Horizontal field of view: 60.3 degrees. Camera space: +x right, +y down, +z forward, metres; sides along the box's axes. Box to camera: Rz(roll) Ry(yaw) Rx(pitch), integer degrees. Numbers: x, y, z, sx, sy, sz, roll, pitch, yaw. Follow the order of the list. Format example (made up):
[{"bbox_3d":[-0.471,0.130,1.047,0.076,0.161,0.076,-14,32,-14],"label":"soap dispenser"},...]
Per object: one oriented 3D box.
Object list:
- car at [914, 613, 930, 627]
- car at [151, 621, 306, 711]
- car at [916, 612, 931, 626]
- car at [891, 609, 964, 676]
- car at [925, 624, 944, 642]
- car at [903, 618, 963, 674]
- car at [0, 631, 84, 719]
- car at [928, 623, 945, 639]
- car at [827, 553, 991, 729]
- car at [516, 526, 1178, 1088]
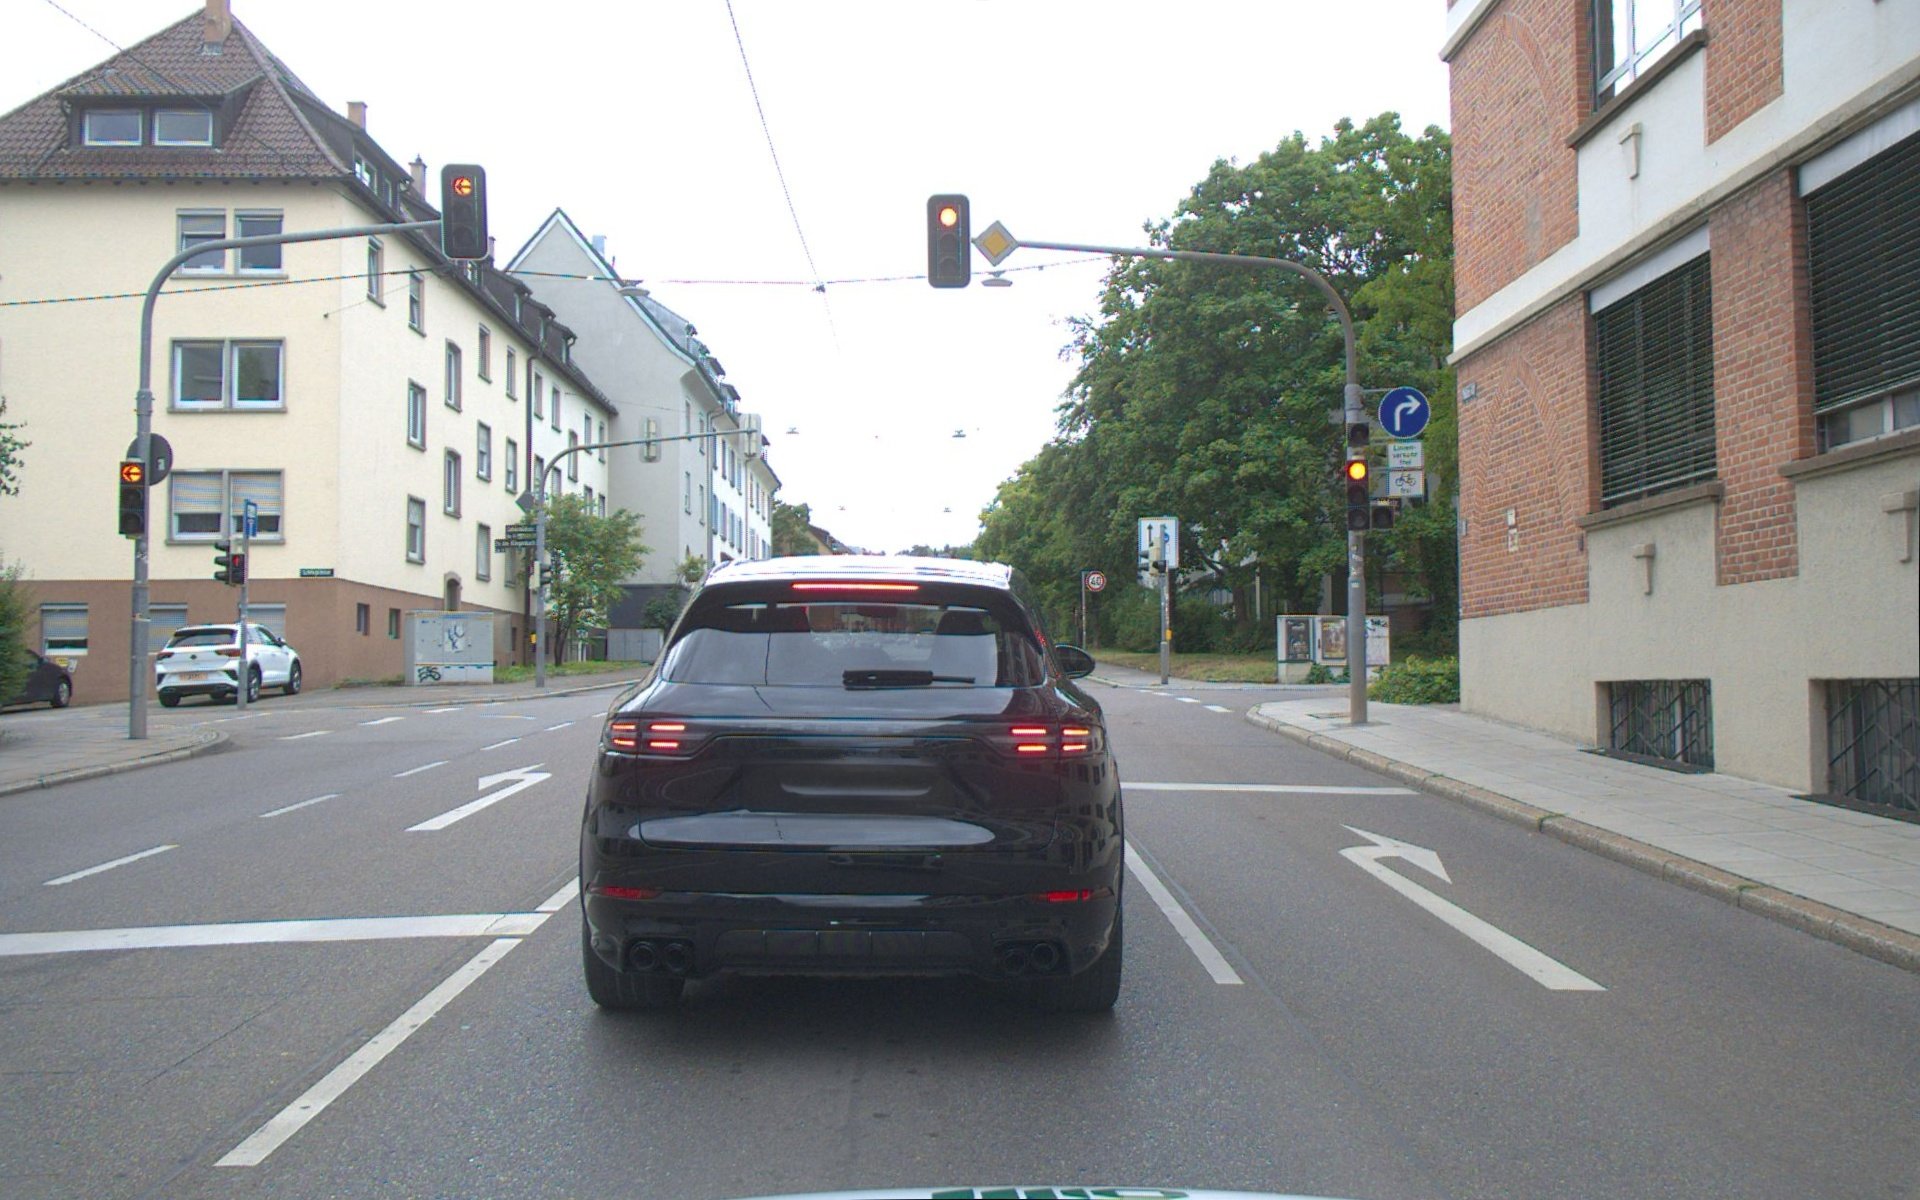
[{"bbox_3d":[-4.670,2.456,202.832,1.790,1.633,4.134,1,0,-1],"label":"car"},{"bbox_3d":[-14.724,1.281,33.485,1.658,1.582,3.762,-3,0,-5],"label":"car"},{"bbox_3d":[-4.595,2.405,210.159,1.790,1.633,4.134,1,0,-1],"label":"car"},{"bbox_3d":[-0.836,1.082,43.787,1.790,1.633,4.134,1,0,-1],"label":"car"},{"bbox_3d":[-2.490,3.271,163.215,1.790,1.633,4.134,1,0,-1],"label":"car"},{"bbox_3d":[-0.840,1.435,52.500,1.790,1.633,3.858,1,0,-1],"label":"car"},{"bbox_3d":[-19.629,1.527,33.758,1.658,1.636,3.762,-3,0,-5],"label":"car"},{"bbox_3d":[-2.557,3.434,182.388,1.790,1.633,4.134,1,0,-1],"label":"car"},{"bbox_3d":[-0.622,0.486,21.875,1.925,2.078,4.134,1,0,-1],"label":"car"},{"bbox_3d":[-0.362,0.632,7.229,2.007,1.695,4.266,1,0,-1],"label":"car"}]
